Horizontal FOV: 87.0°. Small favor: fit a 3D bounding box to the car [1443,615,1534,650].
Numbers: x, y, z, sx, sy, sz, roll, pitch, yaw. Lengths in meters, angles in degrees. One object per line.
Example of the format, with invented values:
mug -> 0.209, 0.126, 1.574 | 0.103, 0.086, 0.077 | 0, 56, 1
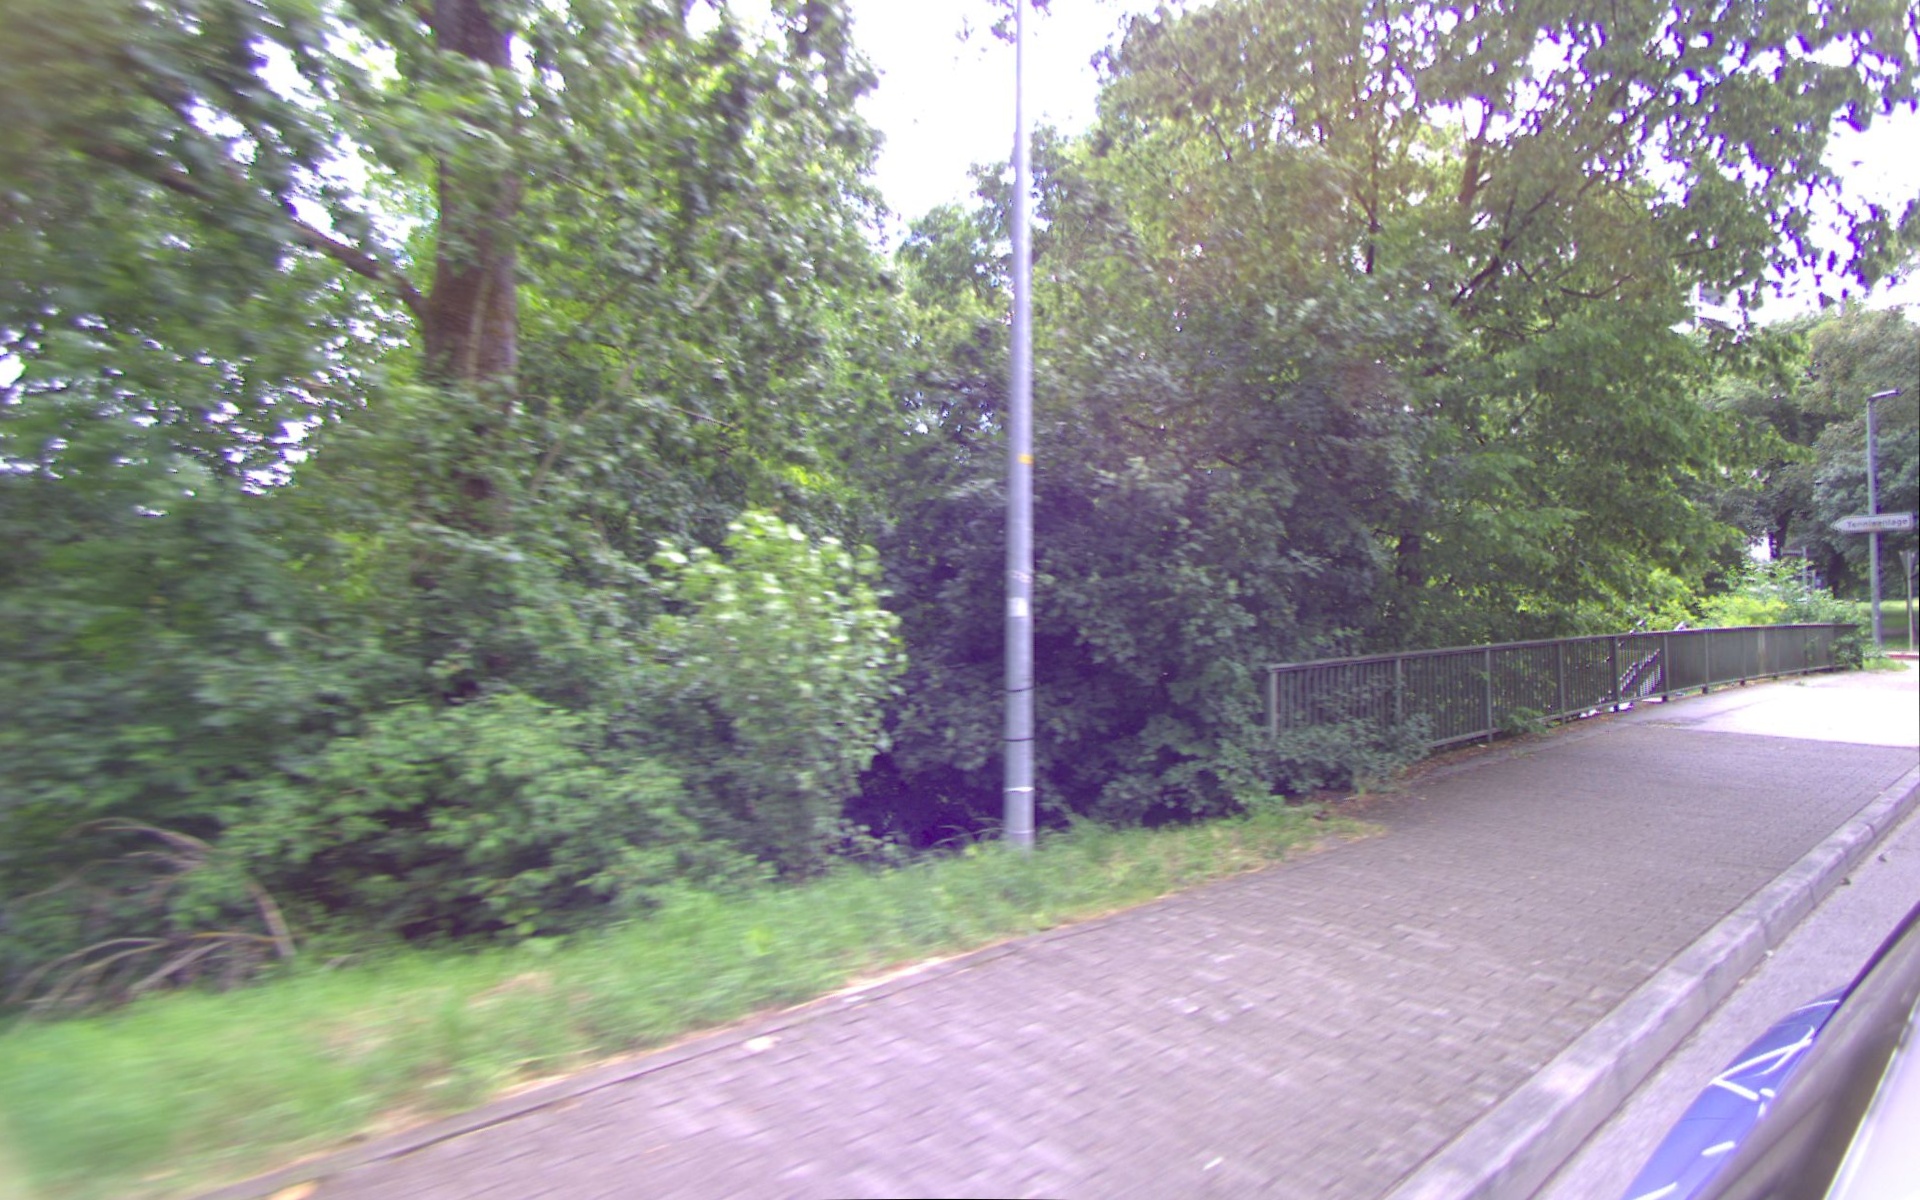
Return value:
car -> 25.374, 1.554, 48.694 | 1.794, 1.590, 3.534 | -1, -1, -19
